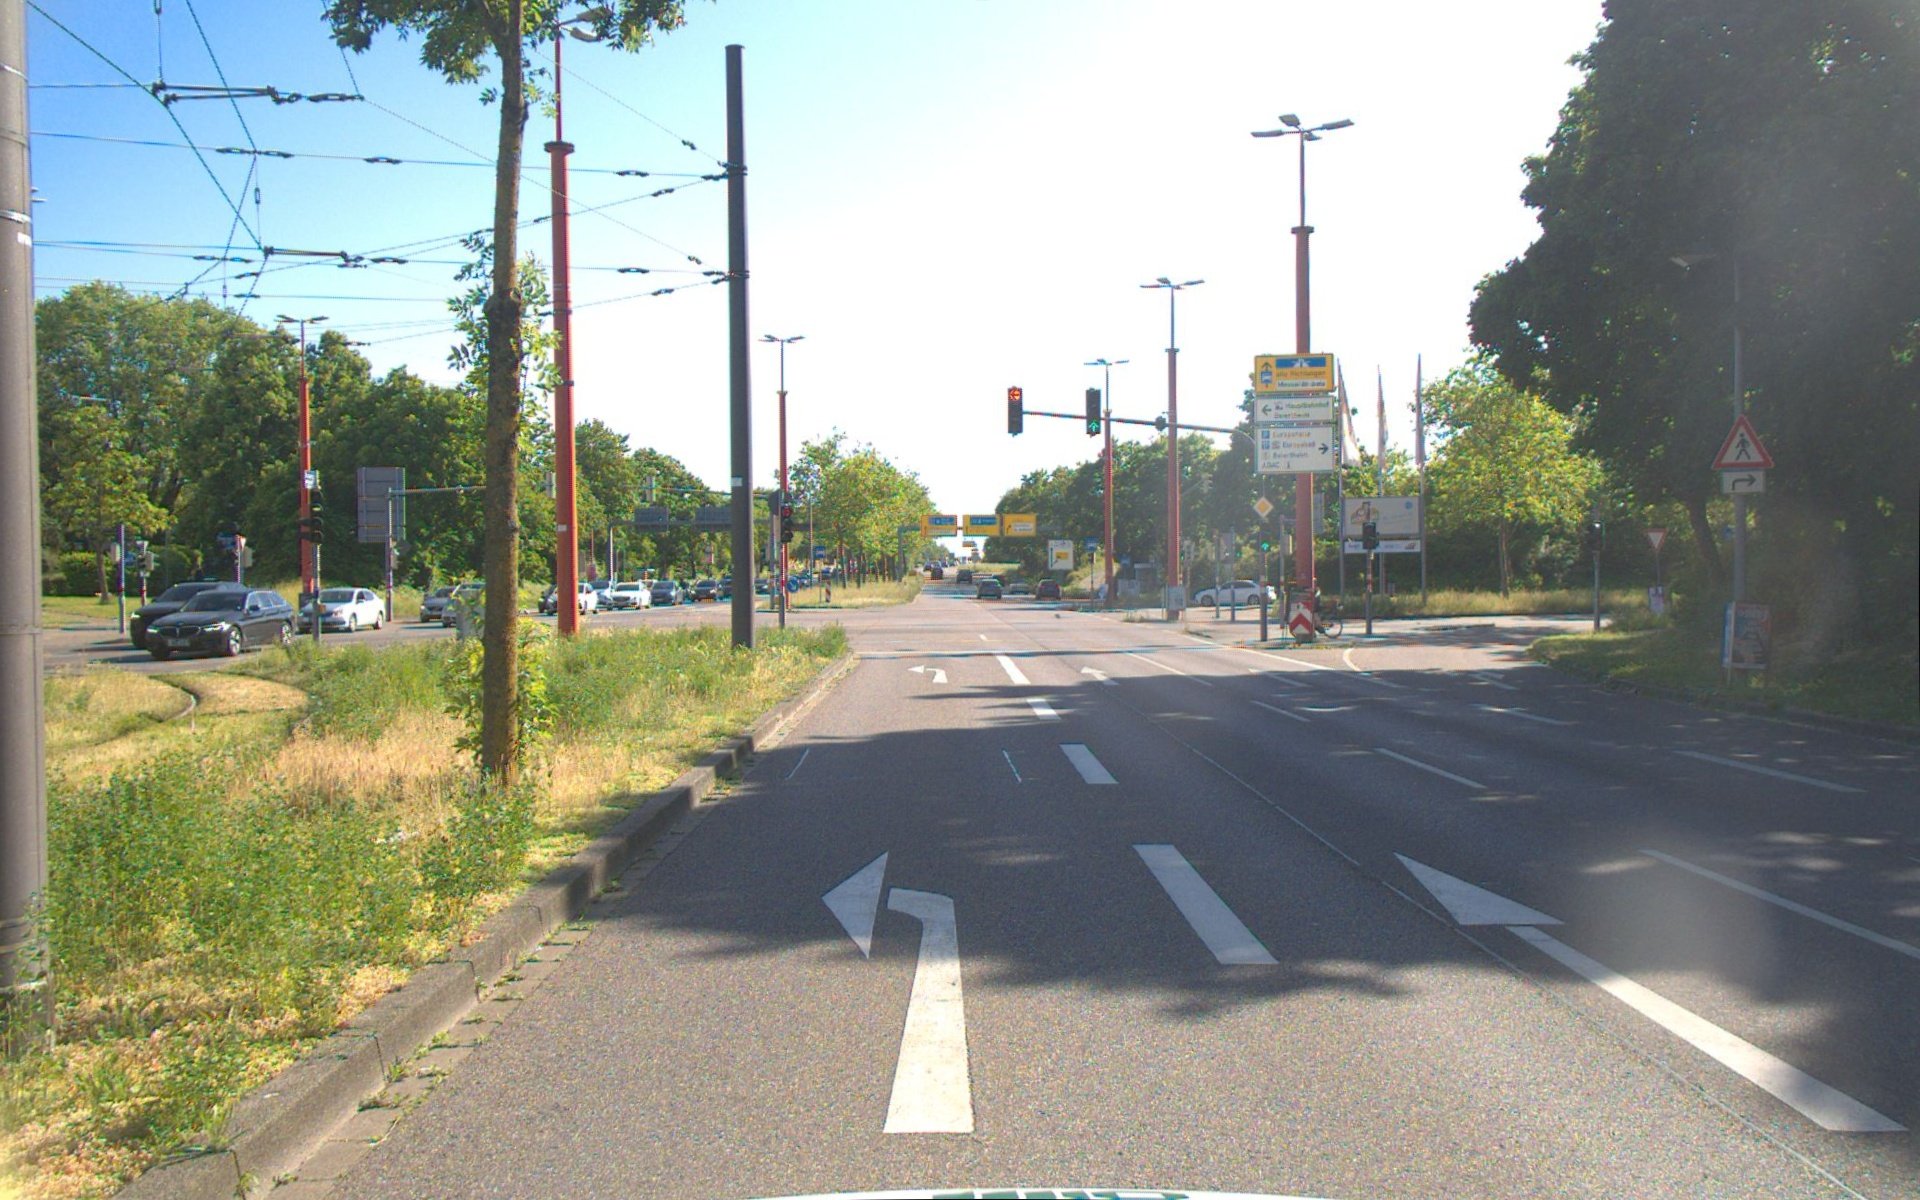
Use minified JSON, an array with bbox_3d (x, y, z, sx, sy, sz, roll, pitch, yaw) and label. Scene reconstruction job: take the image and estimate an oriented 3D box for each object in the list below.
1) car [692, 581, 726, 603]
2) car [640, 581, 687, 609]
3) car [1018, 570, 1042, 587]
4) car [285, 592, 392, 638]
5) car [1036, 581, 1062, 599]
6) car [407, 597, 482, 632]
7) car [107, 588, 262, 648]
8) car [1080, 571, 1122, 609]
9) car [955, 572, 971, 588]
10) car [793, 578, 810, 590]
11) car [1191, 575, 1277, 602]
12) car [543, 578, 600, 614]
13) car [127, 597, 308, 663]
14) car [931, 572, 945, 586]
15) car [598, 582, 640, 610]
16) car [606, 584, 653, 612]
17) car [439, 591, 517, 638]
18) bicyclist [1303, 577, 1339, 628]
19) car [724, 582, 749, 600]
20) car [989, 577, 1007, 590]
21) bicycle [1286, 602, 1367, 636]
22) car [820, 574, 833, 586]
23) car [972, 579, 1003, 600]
[{"bbox_3d":[-17.607,-0.546,116.217,1.838,1.511,4.603,0,0,-2],"label":"car"},{"bbox_3d":[-17.866,-0.299,99.841,1.952,1.622,4.464,-1,1,1],"label":"car"},{"bbox_3d":[6.427,-1.983,151.938,1.953,1.567,3.999,0,0,-1],"label":"car"},{"bbox_3d":[-21.131,0.464,56.422,1.953,1.457,4.692,-1,0,-1],"label":"car"},{"bbox_3d":[6.686,-0.773,124.691,1.702,1.365,3.081,-1,1,-1],"label":"car"},{"bbox_3d":[-21.581,0.584,69.457,1.954,1.398,4.398,0,0,-3],"label":"car"},{"bbox_3d":[-20.654,0.438,44.299,1.953,1.506,4.631,0,0,0],"label":"car"},{"bbox_3d":[7.294,-0.522,85.427,1.951,1.920,4.003,0,1,8],"label":"car"},{"bbox_3d":[0.399,-2.711,221.789,2.111,2.049,3.999,-1,1,-1],"label":"car"},{"bbox_3d":[-19.175,-1.948,200.221,1.964,1.330,3.997,-1,1,-4],"label":"car"},{"bbox_3d":[14.870,-0.630,89.684,4.287,1.395,2.061,0,1,21],"label":"car"},{"bbox_3d":[-17.878,-0.214,76.291,1.556,1.498,4.183,-2,1,0],"label":"car"},{"bbox_3d":[-17.366,0.653,38.992,1.952,1.434,4.990,1,0,0],"label":"car"},{"bbox_3d":[-3.258,-3.141,243.708,1.953,2.049,3.999,0,0,-2],"label":"car"},{"bbox_3d":[-20.419,-0.238,99.246,1.838,1.603,3.998,0,0,-2],"label":"car"},{"bbox_3d":[-17.825,-0.134,89.469,1.669,1.447,4.642,-1,0,-1],"label":"car"},{"bbox_3d":[-17.445,0.500,60.032,1.727,1.636,3.757,-1,0,0],"label":"car"},{"bbox_3d":[9.859,0.067,45.160,0.726,1.365,0.706,0,0,-11],"label":"bicyclist"},{"bbox_3d":[-18.131,-0.752,134.465,1.517,1.401,4.261,-1,1,-1],"label":"car"},{"bbox_3d":[4.631,-1.986,202.242,1.953,1.567,3.999,0,1,-1],"label":"car"},{"bbox_3d":[10.001,0.519,45.159,2.124,0.894,0.558,0,0,-13],"label":"bicycle"},{"bbox_3d":[-19.495,-2.963,240.851,1.592,1.769,4.000,0,1,0],"label":"car"},{"bbox_3d":[2.022,-0.788,123.301,1.954,1.523,3.996,-1,1,-5],"label":"car"}]
